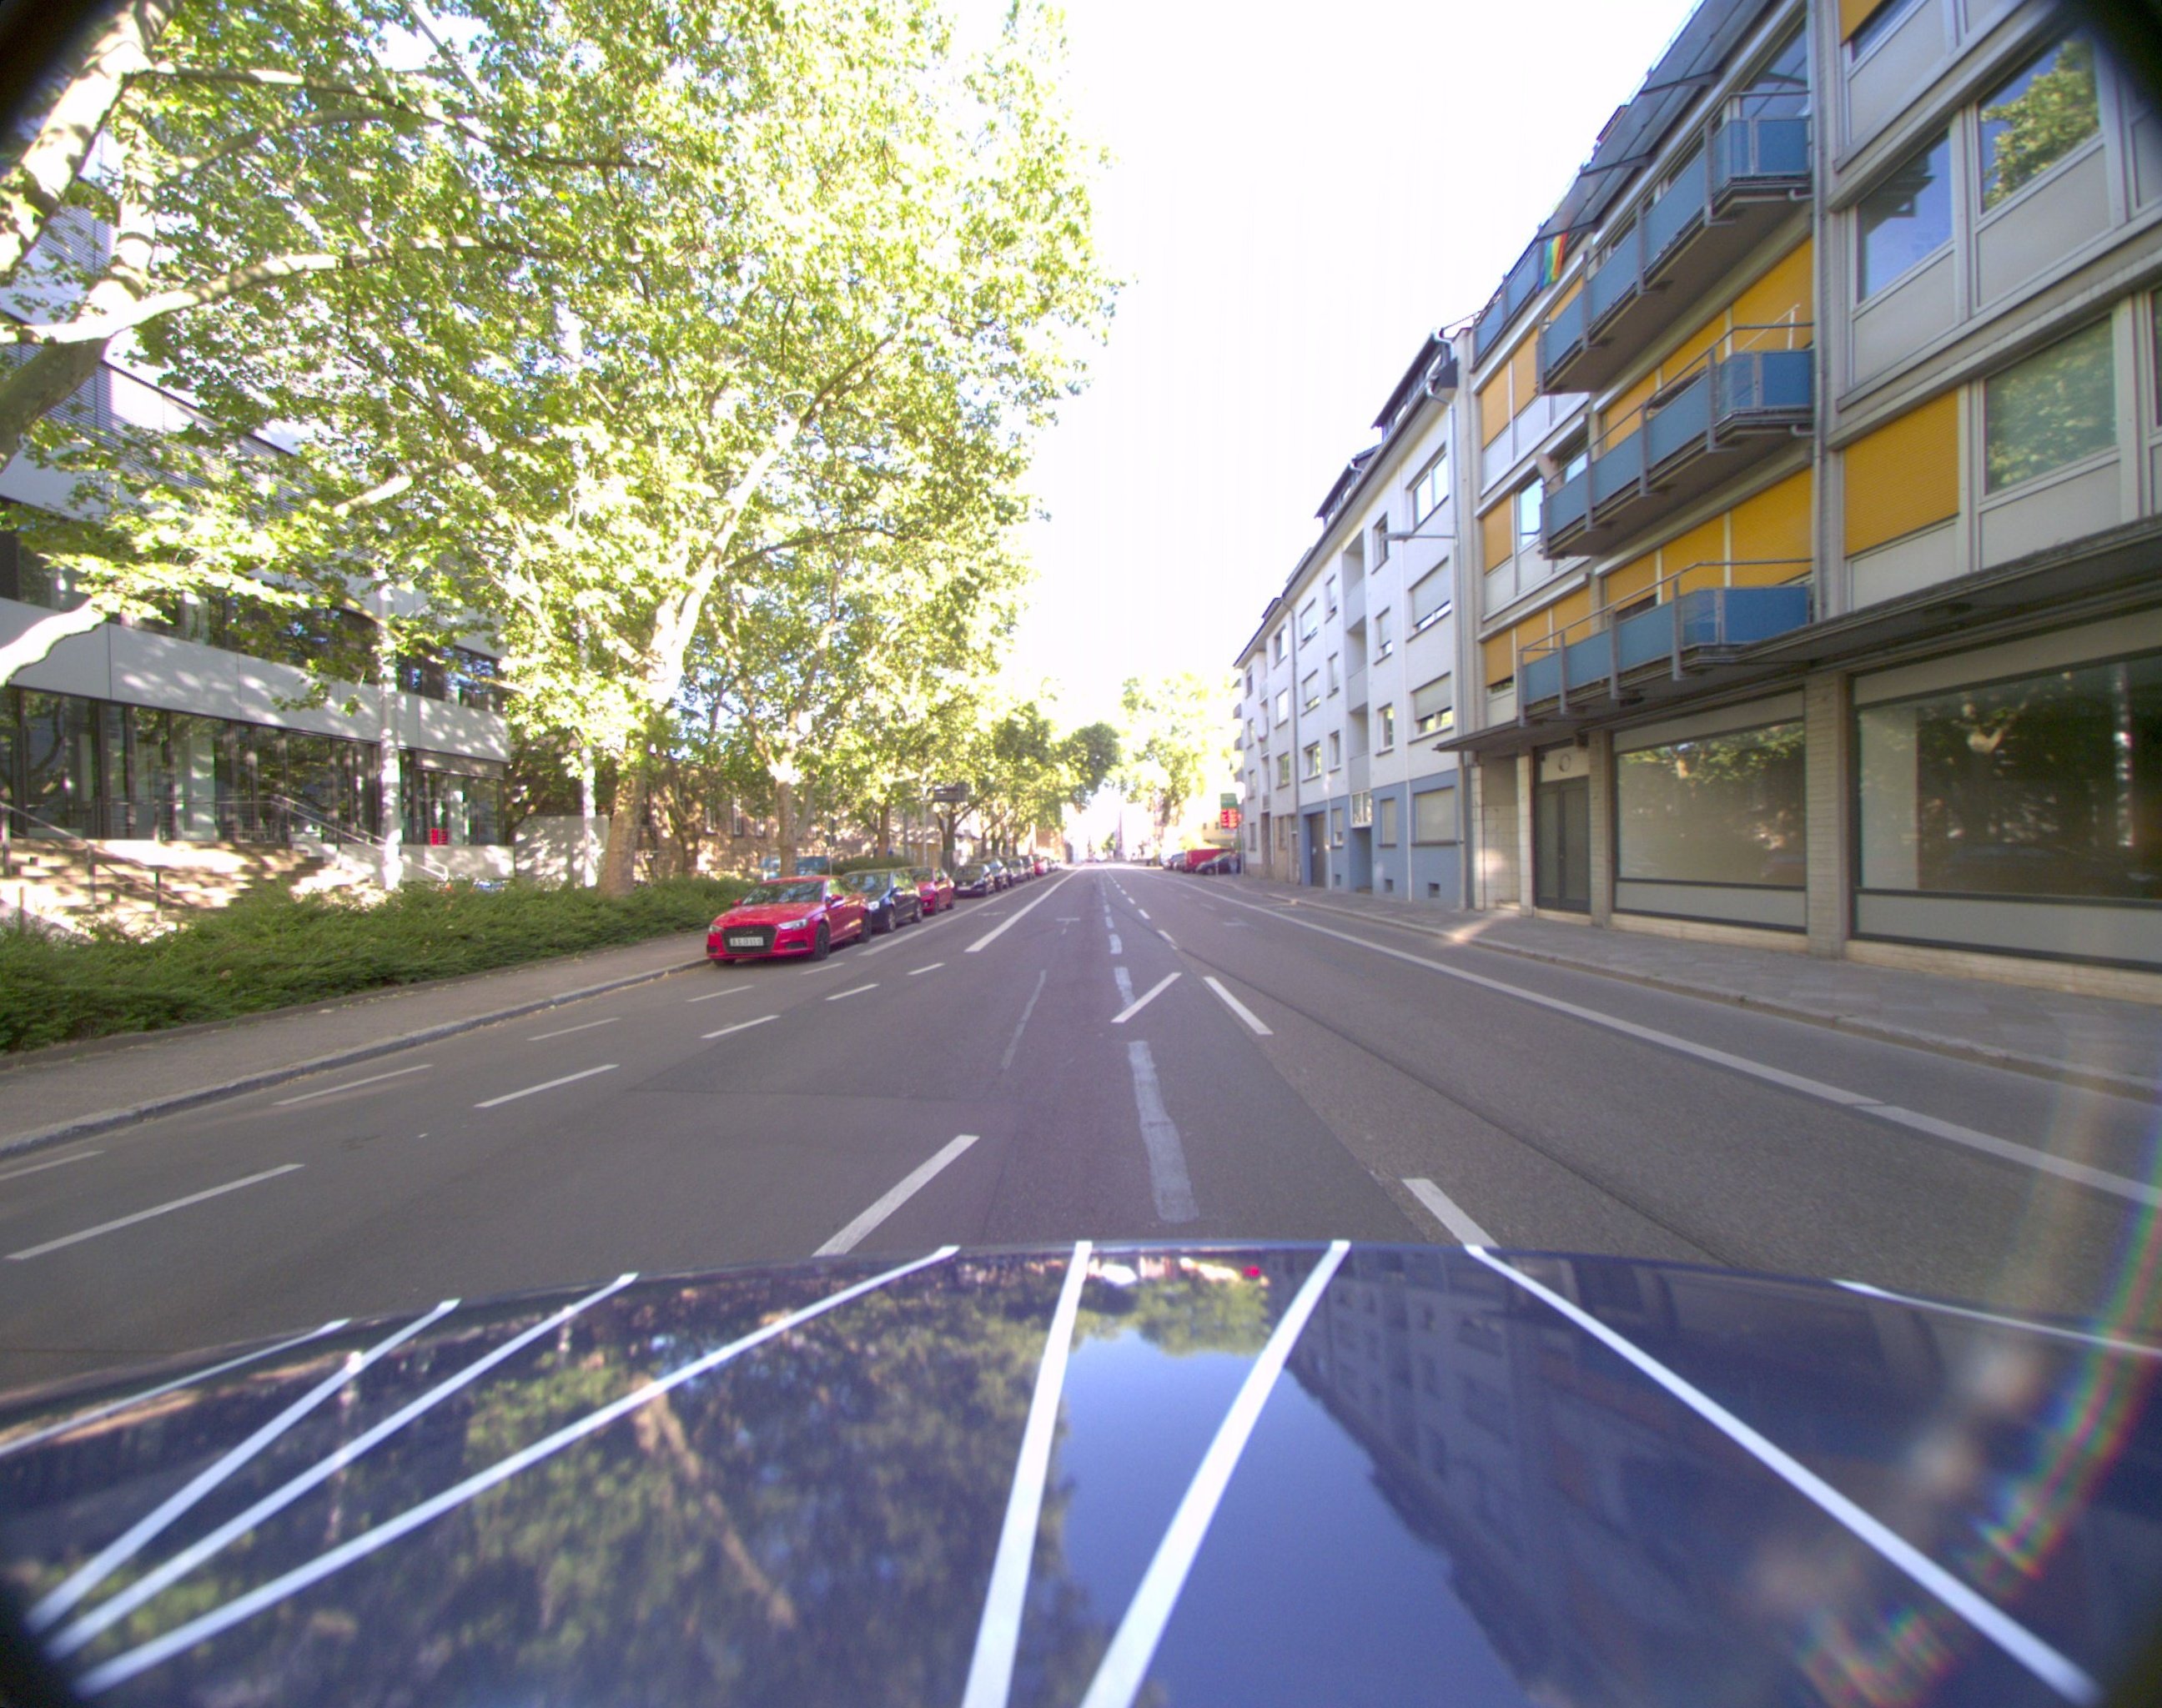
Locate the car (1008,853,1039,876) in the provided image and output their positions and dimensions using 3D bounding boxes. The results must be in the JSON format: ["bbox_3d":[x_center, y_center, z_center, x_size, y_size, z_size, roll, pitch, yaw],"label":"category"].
[{"bbox_3d":[-4.172,0.748,55.519,1.831,1.608,4.177,-1,0,1],"label":"car"}]

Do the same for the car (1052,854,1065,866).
[{"bbox_3d":[-3.028,0.812,102.860,1.707,1.459,3.809,-1,0,0],"label":"car"}]

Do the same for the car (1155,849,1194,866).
[{"bbox_3d":[9.611,0.369,78.578,3.703,1.573,1.718,-2,1,-5],"label":"car"}]

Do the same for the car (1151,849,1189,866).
[{"bbox_3d":[9.482,0.365,80.869,3.728,1.579,1.743,-2,1,-5],"label":"car"}]

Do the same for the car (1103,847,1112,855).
[{"bbox_3d":[6.756,-0.811,193.471,1.998,2.002,3.999,-2,1,1],"label":"car"}]

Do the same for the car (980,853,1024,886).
[{"bbox_3d":[-4.547,0.866,44.202,1.998,1.715,4.262,-2,1,1],"label":"car"}]

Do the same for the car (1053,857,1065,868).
[{"bbox_3d":[-2.632,1.023,92.342,1.300,1.220,3.241,-1,0,0],"label":"car"}]

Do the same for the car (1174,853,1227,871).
[{"bbox_3d":[9.828,0.647,62.919,4.033,1.265,1.906,-2,1,-1],"label":"car"}]

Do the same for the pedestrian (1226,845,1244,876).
[{"bbox_3d":[8.958,0.358,44.237,0.896,1.761,0.741,-2,1,1],"label":"pedestrian"}]

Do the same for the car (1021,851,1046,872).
[{"bbox_3d":[-4.111,0.612,66.189,1.876,1.685,4.166,-1,0,1],"label":"car"}]

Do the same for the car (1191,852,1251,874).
[{"bbox_3d":[10.070,0.662,54.858,3.997,1.385,1.781,-2,1,-1],"label":"car"}]

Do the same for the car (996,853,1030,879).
[{"bbox_3d":[-4.443,0.736,50.462,1.798,1.608,4.075,-1,0,1],"label":"car"}]

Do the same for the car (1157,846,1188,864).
[{"bbox_3d":[10.226,0.098,85.250,3.267,1.927,1.693,-2,1,2],"label":"car"}]

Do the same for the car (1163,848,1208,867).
[{"bbox_3d":[10.076,0.318,73.371,3.998,1.618,1.702,-2,1,-5],"label":"car"}]

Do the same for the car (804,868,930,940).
[{"bbox_3d":[-5.048,1.124,18.511,1.813,1.449,4.000,-1,0,2],"label":"car"}]

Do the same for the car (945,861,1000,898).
[{"bbox_3d":[-4.678,1.081,33.272,1.745,1.430,4.000,-1,0,1],"label":"car"}]

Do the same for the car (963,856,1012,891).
[{"bbox_3d":[-4.625,0.919,38.218,1.848,1.572,4.232,-2,0,1],"label":"car"}]

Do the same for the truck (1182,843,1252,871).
[{"bbox_3d":[10.724,0.230,60.105,5.088,2.009,2.000,-2,1,0],"label":"truck"}]

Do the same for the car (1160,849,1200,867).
[{"bbox_3d":[9.876,0.373,75.920,3.658,1.578,1.659,-2,1,-5],"label":"car"}]

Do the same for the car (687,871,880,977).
[{"bbox_3d":[-5.090,1.110,13.667,1.775,1.416,4.173,-3,0,0],"label":"car"}]

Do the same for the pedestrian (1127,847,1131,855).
[{"bbox_3d":[12.829,-0.866,201.803,0.613,1.981,0.711,-1,1,33],"label":"pedestrian"}]

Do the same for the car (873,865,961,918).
[{"bbox_3d":[-4.994,1.100,23.723,1.790,1.429,4.000,-1,0,1],"label":"car"}]
